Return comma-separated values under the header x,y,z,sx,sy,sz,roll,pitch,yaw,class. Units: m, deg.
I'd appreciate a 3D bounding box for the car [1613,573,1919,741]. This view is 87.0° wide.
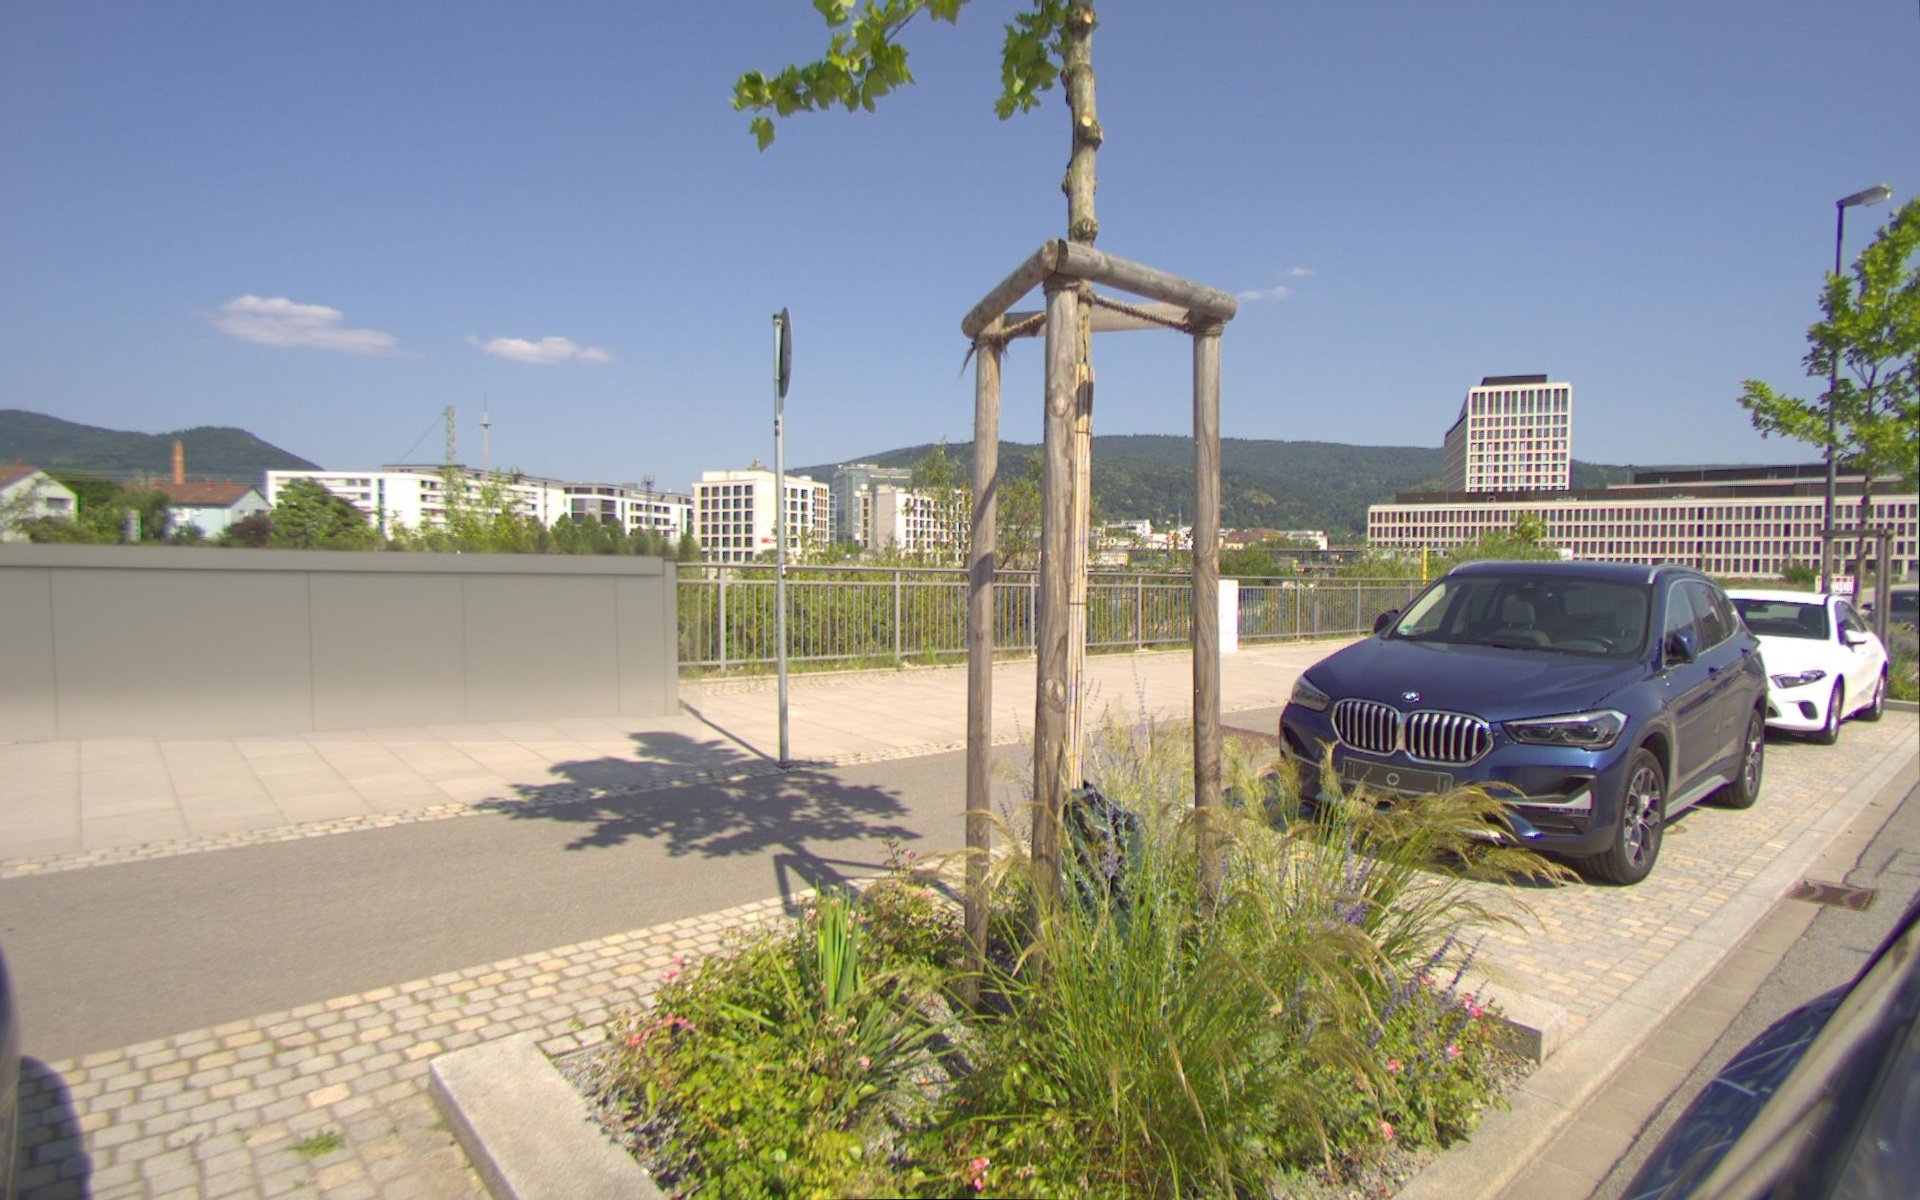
x,y,z,sx,sy,sz,roll,pitch,yaw,class
8.860,0.459,10.982,4.194,1.390,1.711,-1,5,-39,car

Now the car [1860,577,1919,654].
x,y,z,sx,sy,sz,roll,pitch,yaw,class
20.202,0.302,20.972,3.849,1.449,1.808,-1,5,-41,car

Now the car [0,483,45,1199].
x,y,z,sx,sy,sz,roll,pitch,yaw,class
-2.841,0.608,0.505,3.485,1.574,1.585,0,4,-41,car

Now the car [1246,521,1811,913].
x,y,z,sx,sy,sz,roll,pitch,yaw,class
3.809,0.420,6.445,4.197,1.703,1.807,-1,4,-41,car
